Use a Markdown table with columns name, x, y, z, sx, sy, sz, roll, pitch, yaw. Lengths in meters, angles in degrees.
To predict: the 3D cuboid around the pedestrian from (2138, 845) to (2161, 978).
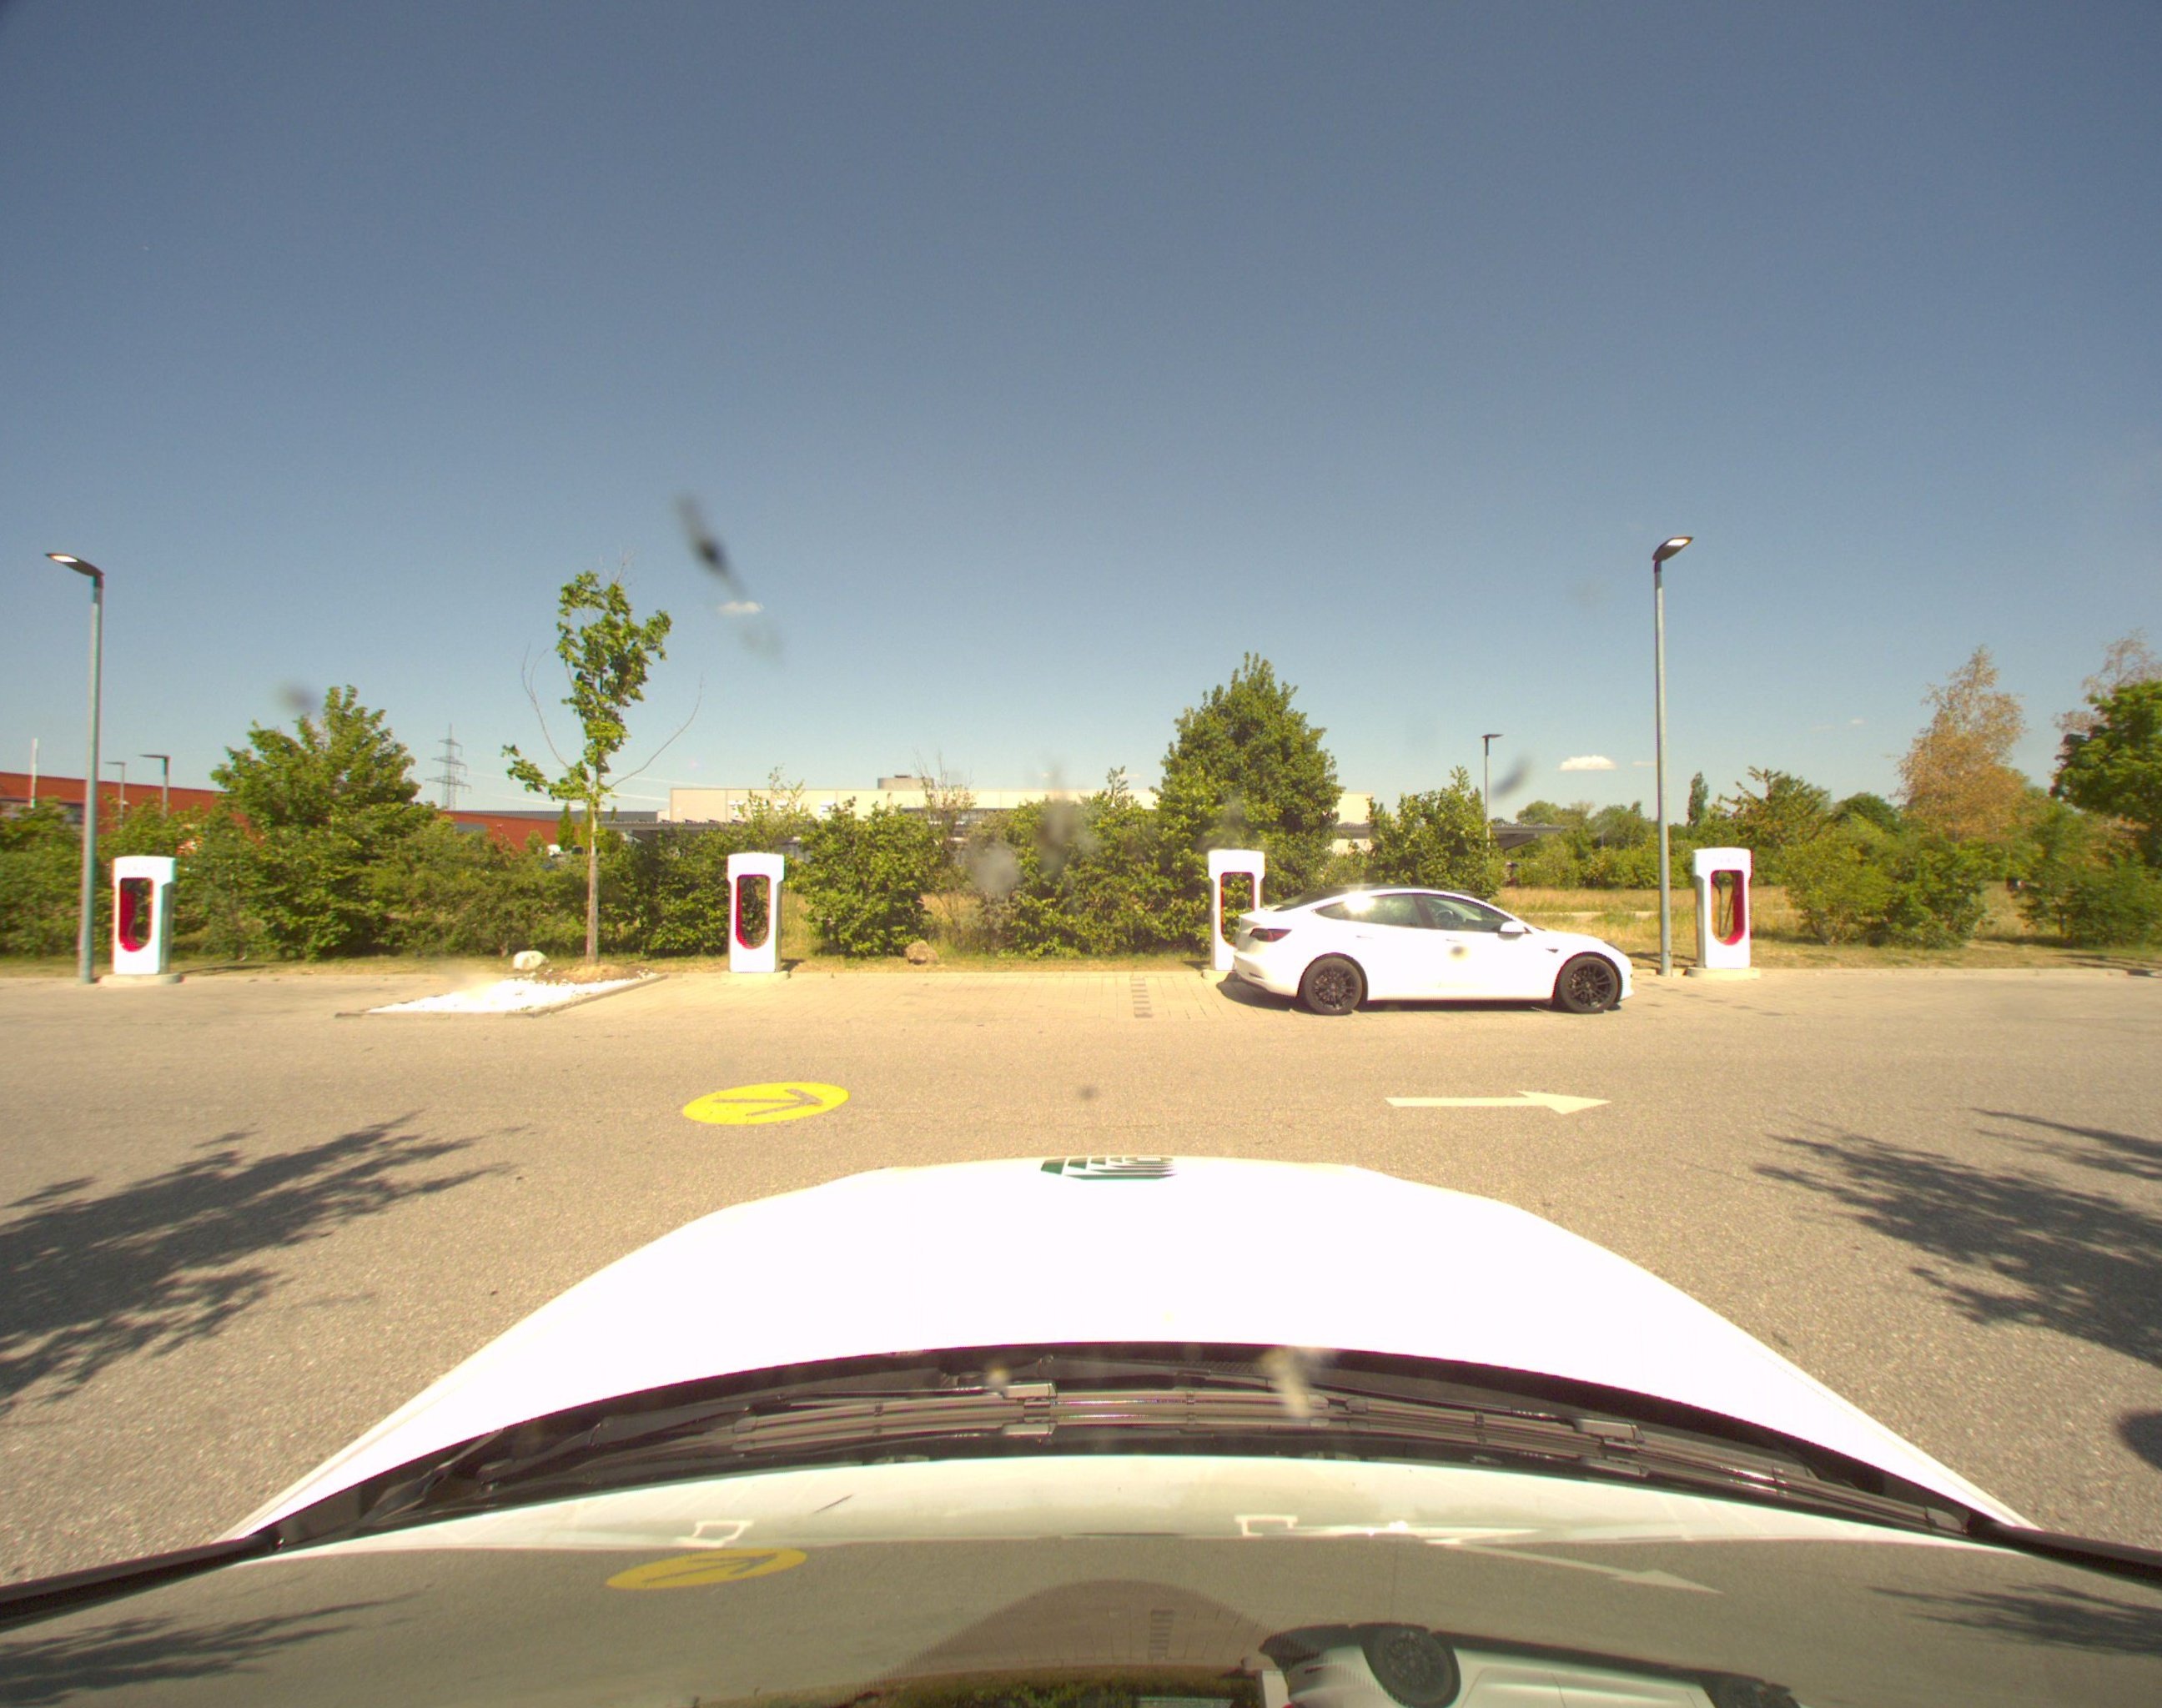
| name | x | y | z | sx | sy | sz | roll | pitch | yaw |
| --- | --- | --- | --- | --- | --- | --- | --- | --- | --- |
| pedestrian | 15.152 | 0.770 | 10.923 | 1.029 | 1.800 | 0.736 | -1 | 0 | -2 |

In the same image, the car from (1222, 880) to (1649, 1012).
| name | x | y | z | sx | sy | sz | roll | pitch | yaw |
| --- | --- | --- | --- | --- | --- | --- | --- | --- | --- |
| car | 4.082 | 1.047 | 9.919 | 4.420 | 1.377 | 1.822 | -1 | -1 | 0 |
